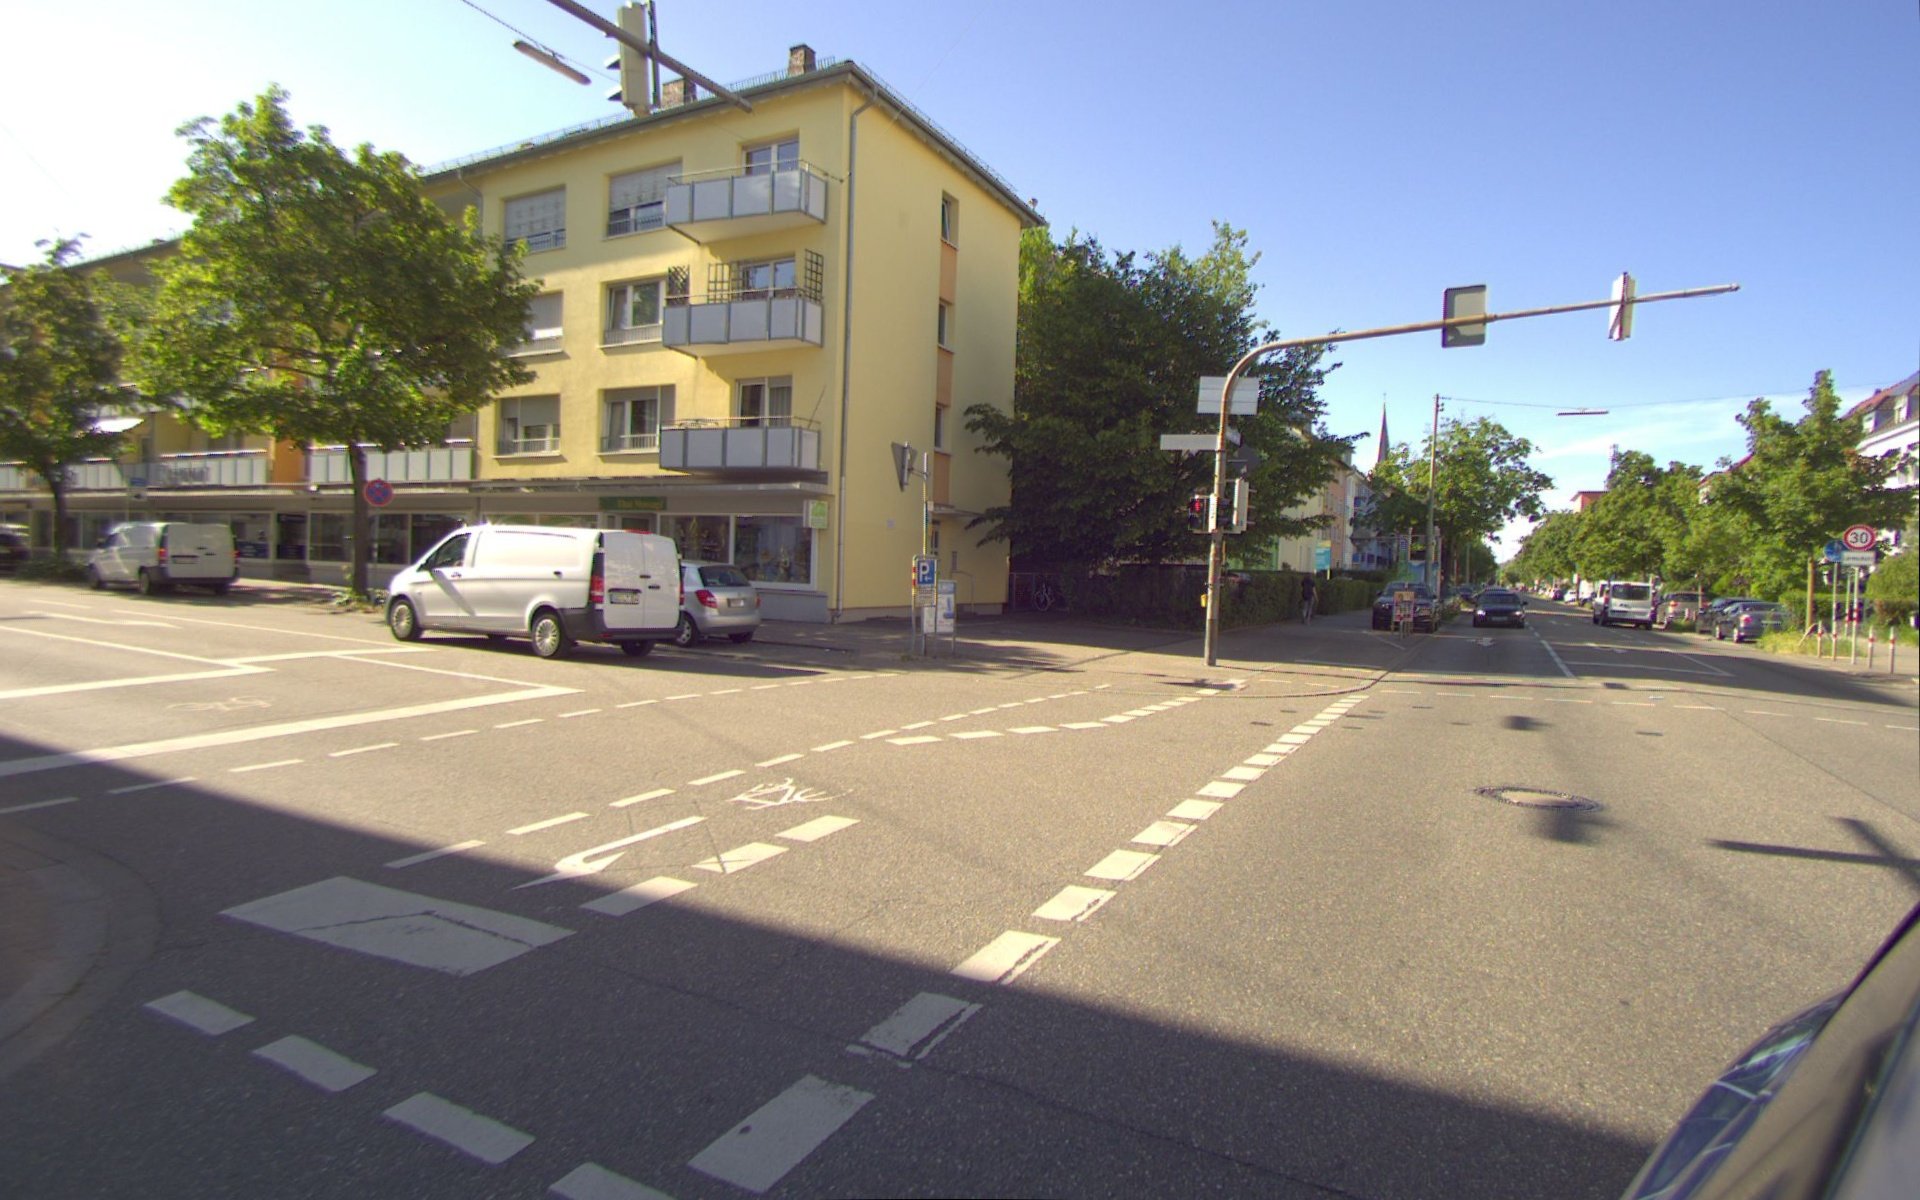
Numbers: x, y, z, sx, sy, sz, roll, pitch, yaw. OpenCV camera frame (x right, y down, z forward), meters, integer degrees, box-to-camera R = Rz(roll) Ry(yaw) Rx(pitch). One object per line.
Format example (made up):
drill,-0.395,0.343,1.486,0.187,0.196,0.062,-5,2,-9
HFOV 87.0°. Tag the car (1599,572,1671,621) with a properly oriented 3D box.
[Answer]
car,29.123,-0.139,43.796,1.956,1.964,5.006,3,1,28

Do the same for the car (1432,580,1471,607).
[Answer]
car,26.855,-0.362,55.238,1.671,1.353,3.487,3,2,29

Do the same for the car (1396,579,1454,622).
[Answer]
car,17.178,-0.012,37.321,1.671,1.429,3.487,3,2,29

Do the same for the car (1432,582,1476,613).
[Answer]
car,24.093,-0.142,49.294,1.671,1.353,3.486,3,2,29

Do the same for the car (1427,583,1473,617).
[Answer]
car,22.322,-0.040,46.063,1.671,1.429,3.487,3,2,29

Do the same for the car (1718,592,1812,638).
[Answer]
car,26.797,0.445,33.824,1.699,1.330,3.961,3,2,28

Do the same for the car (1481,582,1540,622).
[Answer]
car,21.033,0.032,38.714,1.853,1.393,3.960,2,2,29

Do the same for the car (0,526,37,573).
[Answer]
car,-31.954,-1.693,33.060,3.352,1.501,1.701,3,2,29

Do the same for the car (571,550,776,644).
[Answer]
car,-5.297,-0.109,18.652,3.450,1.501,1.701,3,2,29

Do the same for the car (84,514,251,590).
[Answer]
car,-21.408,-1.314,27.297,4.546,1.869,2.031,3,2,30

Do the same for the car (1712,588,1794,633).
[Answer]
car,29.262,0.347,37.458,1.699,1.471,3.960,3,2,28

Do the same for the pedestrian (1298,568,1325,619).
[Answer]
pedestrian,11.474,-0.219,32.995,0.642,1.605,0.564,3,2,36

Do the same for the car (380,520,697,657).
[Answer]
car,-6.595,-0.256,15.739,4.788,1.832,1.956,3,2,28

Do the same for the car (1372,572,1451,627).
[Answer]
car,14.683,-0.060,32.809,1.983,1.593,3.960,3,2,29
